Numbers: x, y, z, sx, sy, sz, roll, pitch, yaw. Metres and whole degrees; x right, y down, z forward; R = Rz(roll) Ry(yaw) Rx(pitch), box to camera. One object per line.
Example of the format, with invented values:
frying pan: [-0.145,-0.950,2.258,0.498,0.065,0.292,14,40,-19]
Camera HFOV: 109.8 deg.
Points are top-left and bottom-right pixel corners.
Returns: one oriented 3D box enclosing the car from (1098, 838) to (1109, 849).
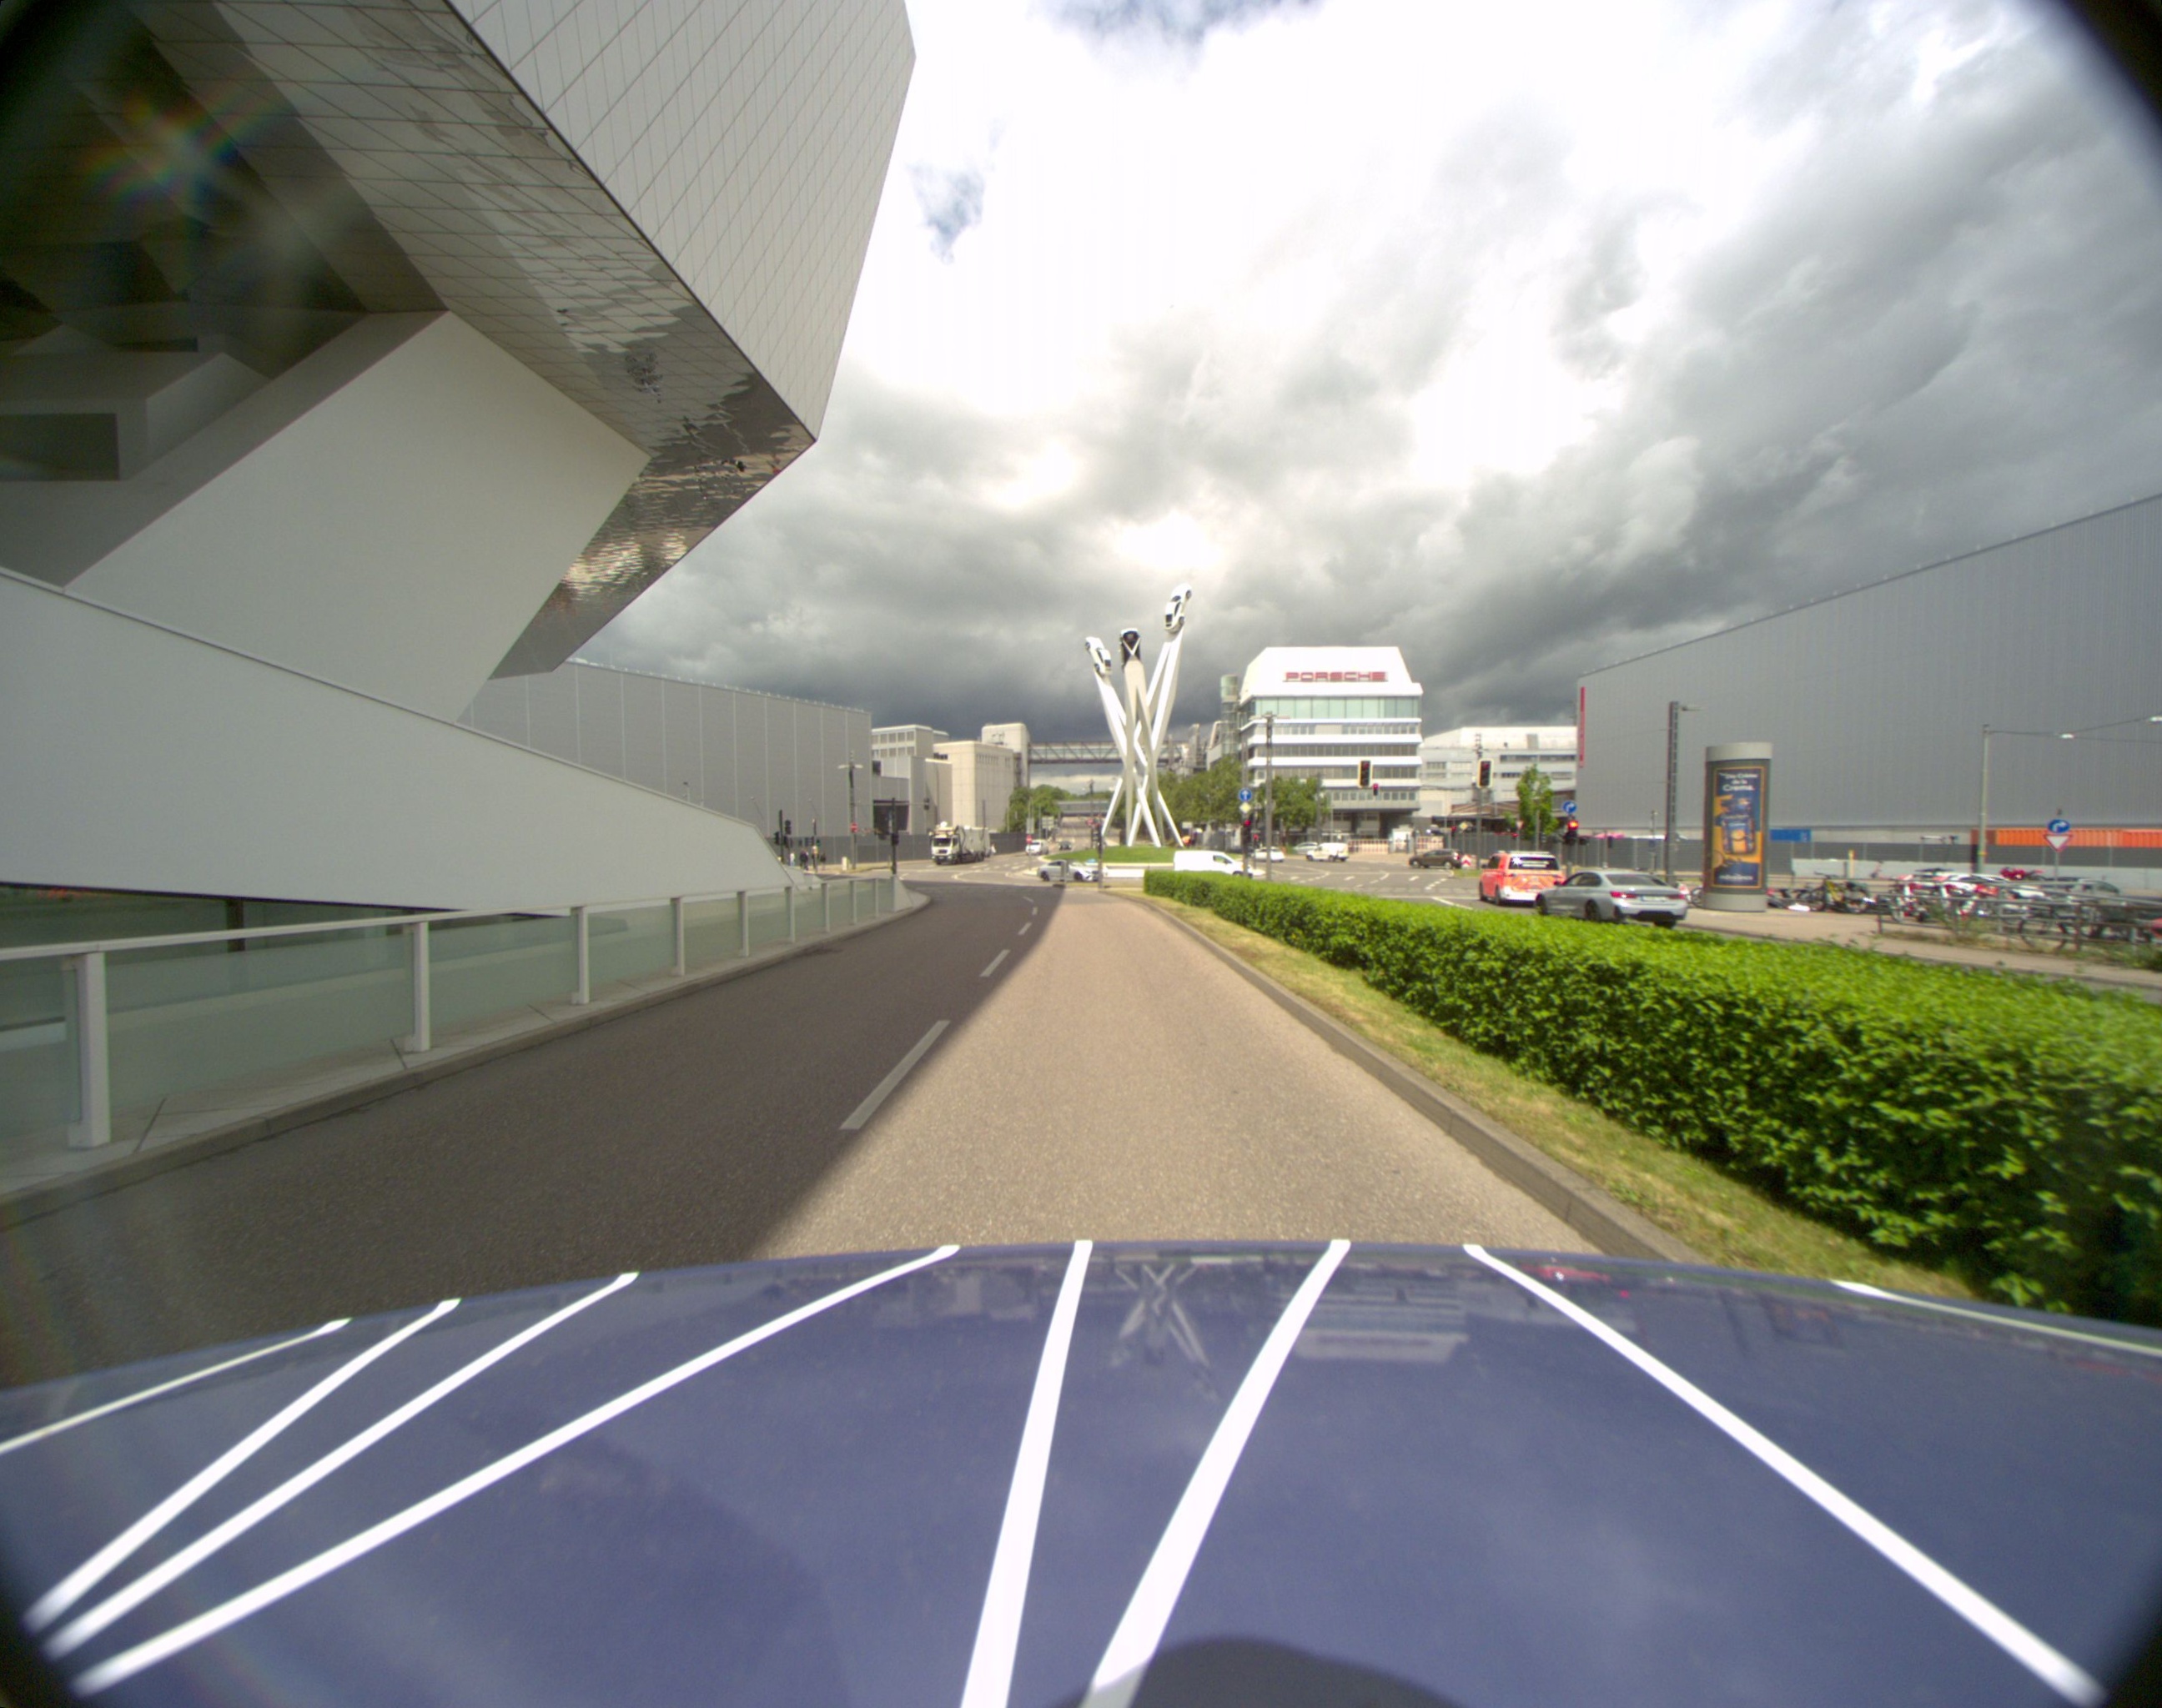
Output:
car: [3.374,-1.618,115.179,1.586,1.630,3.802,0,0,0]

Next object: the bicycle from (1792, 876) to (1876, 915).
bicycle: [21.047,1.137,21.289,0.520,0.983,1.950,0,0,3]

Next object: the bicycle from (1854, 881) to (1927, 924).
bicycle: [19.961,1.172,18.730,1.952,0.983,0.620,0,0,-24]

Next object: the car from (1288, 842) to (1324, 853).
car: [27.654,-0.792,93.398,3.946,1.370,1.632,0,1,35]

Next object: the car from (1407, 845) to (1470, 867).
car: [28.813,0.121,61.297,4.184,1.686,1.958,0,1,44]

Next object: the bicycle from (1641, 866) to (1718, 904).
bicycle: [20.277,1.038,25.778,1.887,1.260,0.850,0,1,12]

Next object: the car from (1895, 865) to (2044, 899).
car: [38.725,1.206,33.211,4.182,1.362,1.622,0,1,8]

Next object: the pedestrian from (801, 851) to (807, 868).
pedestrian: [-24.460,0.491,67.051,0.383,1.449,0.389,-1,2,-37]

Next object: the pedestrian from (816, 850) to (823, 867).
pedestrian: [-23.568,0.405,68.508,0.428,1.544,0.389,-1,2,-37]

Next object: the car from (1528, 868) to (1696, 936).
car: [13.783,1.160,20.105,1.799,1.414,4.494,1,1,8]

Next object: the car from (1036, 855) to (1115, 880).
car: [-0.381,0.802,47.563,4.770,1.477,2.054,0,1,42]

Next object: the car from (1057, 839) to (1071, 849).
car: [-2.739,-1.647,124.231,1.831,1.555,4.001,0,1,4]

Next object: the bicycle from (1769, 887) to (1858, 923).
bicycle: [24.353,1.682,25.296,2.054,1.106,0.673,0,1,15]

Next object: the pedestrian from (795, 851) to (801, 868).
pedestrian: [-25.071,0.500,67.208,0.383,1.464,0.389,-1,2,-37]

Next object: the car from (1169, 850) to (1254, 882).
car: [7.772,0.679,45.264,4.860,1.812,2.001,0,1,10]

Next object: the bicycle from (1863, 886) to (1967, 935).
bicycle: [23.791,1.602,21.704,1.954,1.337,0.712,-1,1,12]

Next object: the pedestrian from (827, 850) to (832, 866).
pedestrian: [-22.883,0.344,69.110,0.329,1.472,0.359,-1,2,-39]

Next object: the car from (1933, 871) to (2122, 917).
car: [34.806,1.432,28.115,3.989,1.497,1.754,0,1,28]

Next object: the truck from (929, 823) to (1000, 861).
truck: [-12.011,-1.244,79.910,2.839,3.669,10.766,0,1,18]

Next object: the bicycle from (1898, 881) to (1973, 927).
bicycle: [20.196,1.161,17.950,1.952,0.983,0.620,0,0,-24]

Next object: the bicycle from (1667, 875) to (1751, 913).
bicycle: [20.127,1.265,24.398,2.041,1.161,0.621,0,1,9]

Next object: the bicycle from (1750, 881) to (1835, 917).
bicycle: [25.653,1.607,27.431,2.109,1.248,0.741,0,1,19]

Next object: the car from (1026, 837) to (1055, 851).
car: [-5.333,-1.341,101.609,2.160,1.899,5.311,0,1,17]

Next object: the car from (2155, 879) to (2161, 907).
car: [48.345,1.688,32.020,3.615,1.235,1.469,0,1,8]

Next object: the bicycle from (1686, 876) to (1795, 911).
bicycle: [26.125,1.537,30.210,3.074,1.259,1.165,0,1,25]

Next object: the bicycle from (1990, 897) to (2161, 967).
bicycle: [16.549,1.256,12.697,0.520,0.983,1.951,0,0,6]

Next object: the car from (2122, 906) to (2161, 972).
car: [23.204,1.810,14.602,1.454,1.312,3.573,0,1,-1]

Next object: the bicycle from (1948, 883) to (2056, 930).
bicycle: [20.511,1.158,16.931,1.950,0.983,0.621,0,0,-8]

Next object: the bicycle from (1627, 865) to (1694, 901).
bicycle: [21.408,1.067,28.108,1.888,1.261,0.668,0,1,8]

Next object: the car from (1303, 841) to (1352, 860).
car: [24.873,-0.393,76.749,2.003,1.819,4.390,-1,1,-32]

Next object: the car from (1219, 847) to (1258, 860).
car: [18.165,-0.092,87.805,1.941,1.503,4.233,-1,1,-36]

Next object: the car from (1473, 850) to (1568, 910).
car: [15.699,0.845,27.417,1.996,1.947,4.633,0,1,18]

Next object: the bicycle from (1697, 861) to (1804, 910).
bicycle: [28.568,1.308,32.502,3.266,2.002,1.076,0,1,23]

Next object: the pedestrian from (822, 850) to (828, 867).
pedestrian: [-23.189,0.394,68.836,0.361,1.472,0.402,-1,2,-38]

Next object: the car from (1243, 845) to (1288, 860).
car: [18.892,-0.169,77.985,2.004,1.570,4.233,-1,1,-35]

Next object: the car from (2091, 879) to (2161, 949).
car: [31.524,1.688,20.966,3.989,1.850,1.754,0,1,28]

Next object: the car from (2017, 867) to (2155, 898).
car: [43.300,1.204,32.804,3.615,1.235,1.469,0,1,8]
